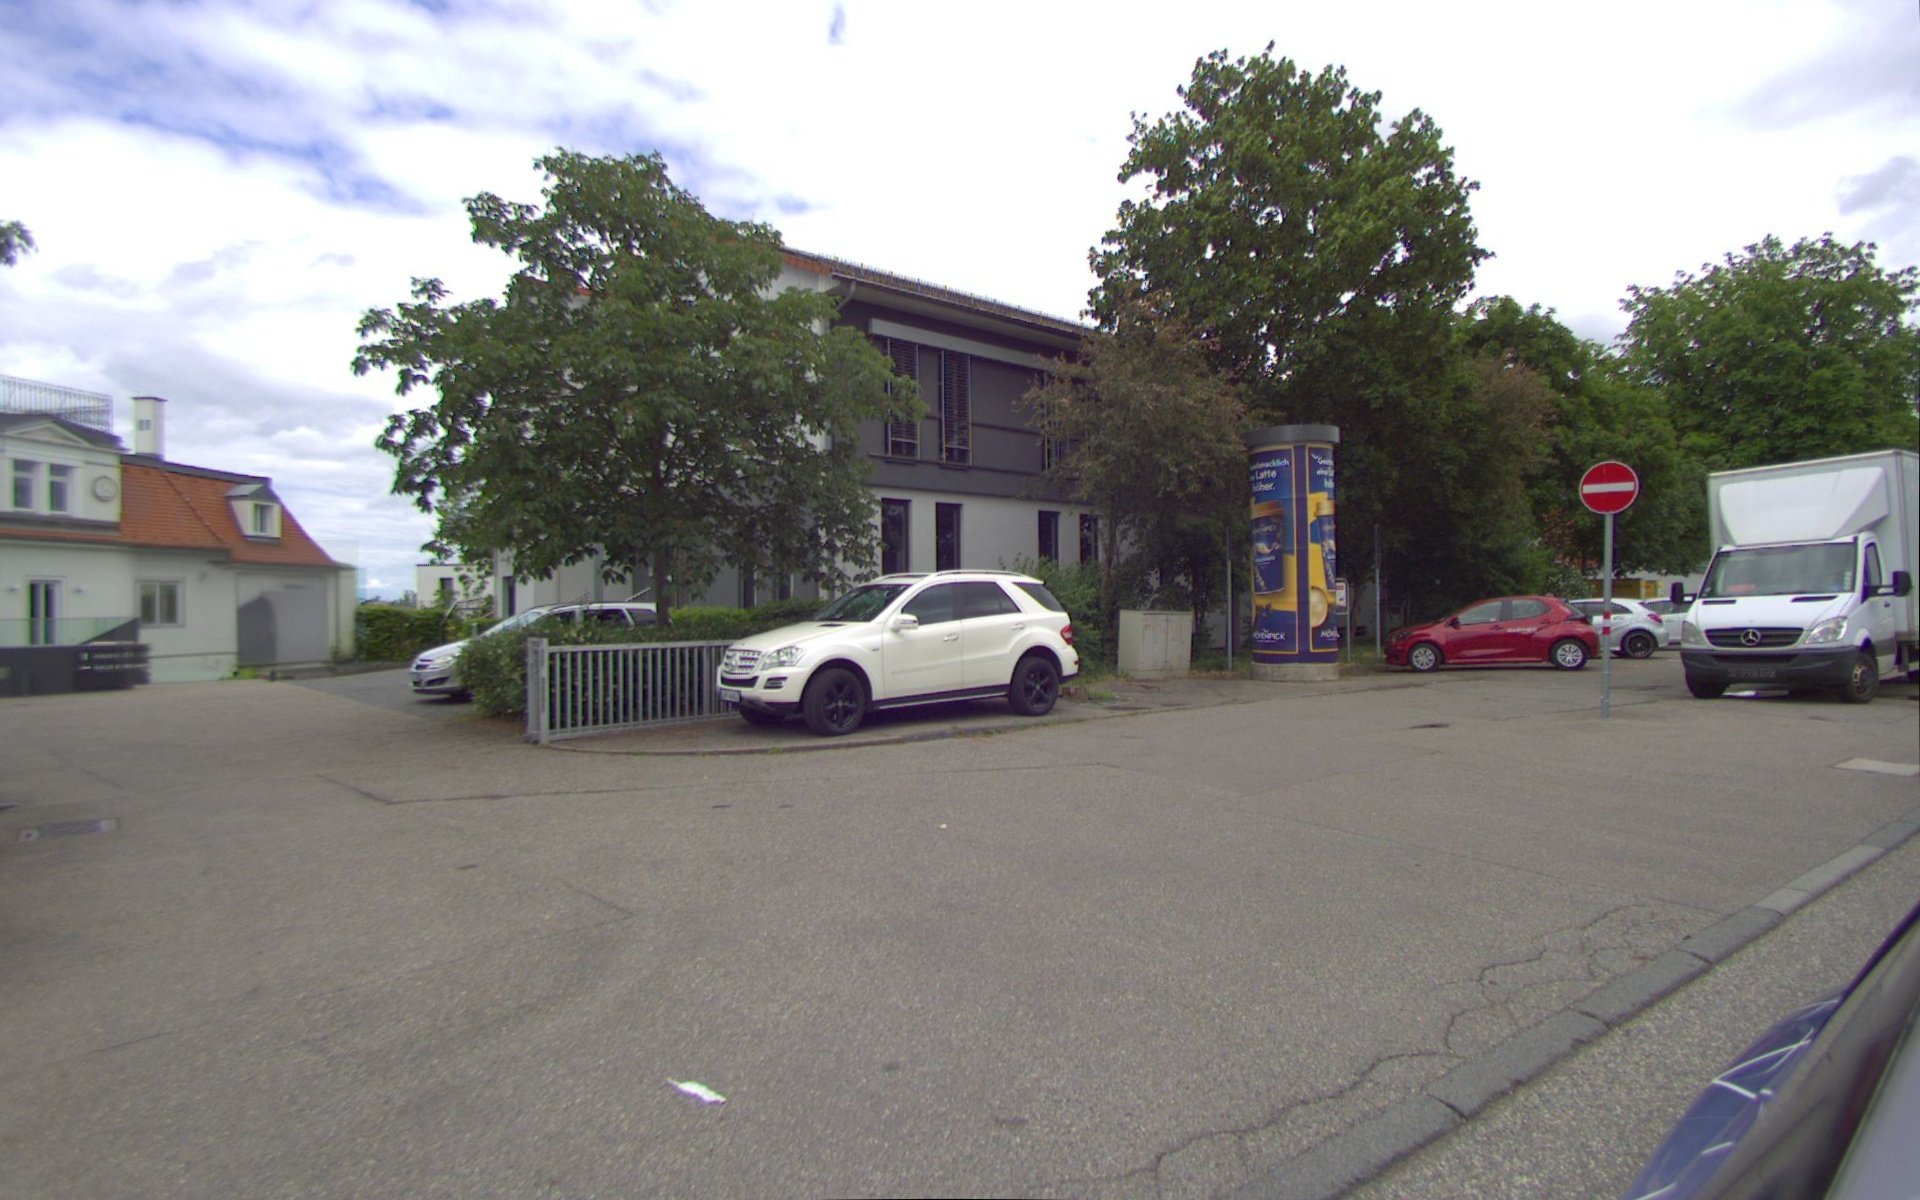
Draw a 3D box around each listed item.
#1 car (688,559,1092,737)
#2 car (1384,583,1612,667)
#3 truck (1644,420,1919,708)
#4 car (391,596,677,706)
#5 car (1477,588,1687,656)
[{"bbox_3d":[-0.719,0.455,12.268,4.635,1.780,1.857,-1,0,-37],"label":"car"},{"bbox_3d":[10.787,0.517,20.485,3.862,1.502,1.666,-3,-1,29],"label":"car"},{"bbox_3d":[13.526,-0.516,15.474,7.630,3.469,2.542,-2,0,-36],"label":"truck"},{"bbox_3d":[-7.089,0.755,17.137,4.149,1.502,1.617,-3,1,-44],"label":"car"},{"bbox_3d":[14.603,0.522,24.017,3.953,1.428,1.513,-3,-1,22],"label":"car"}]
